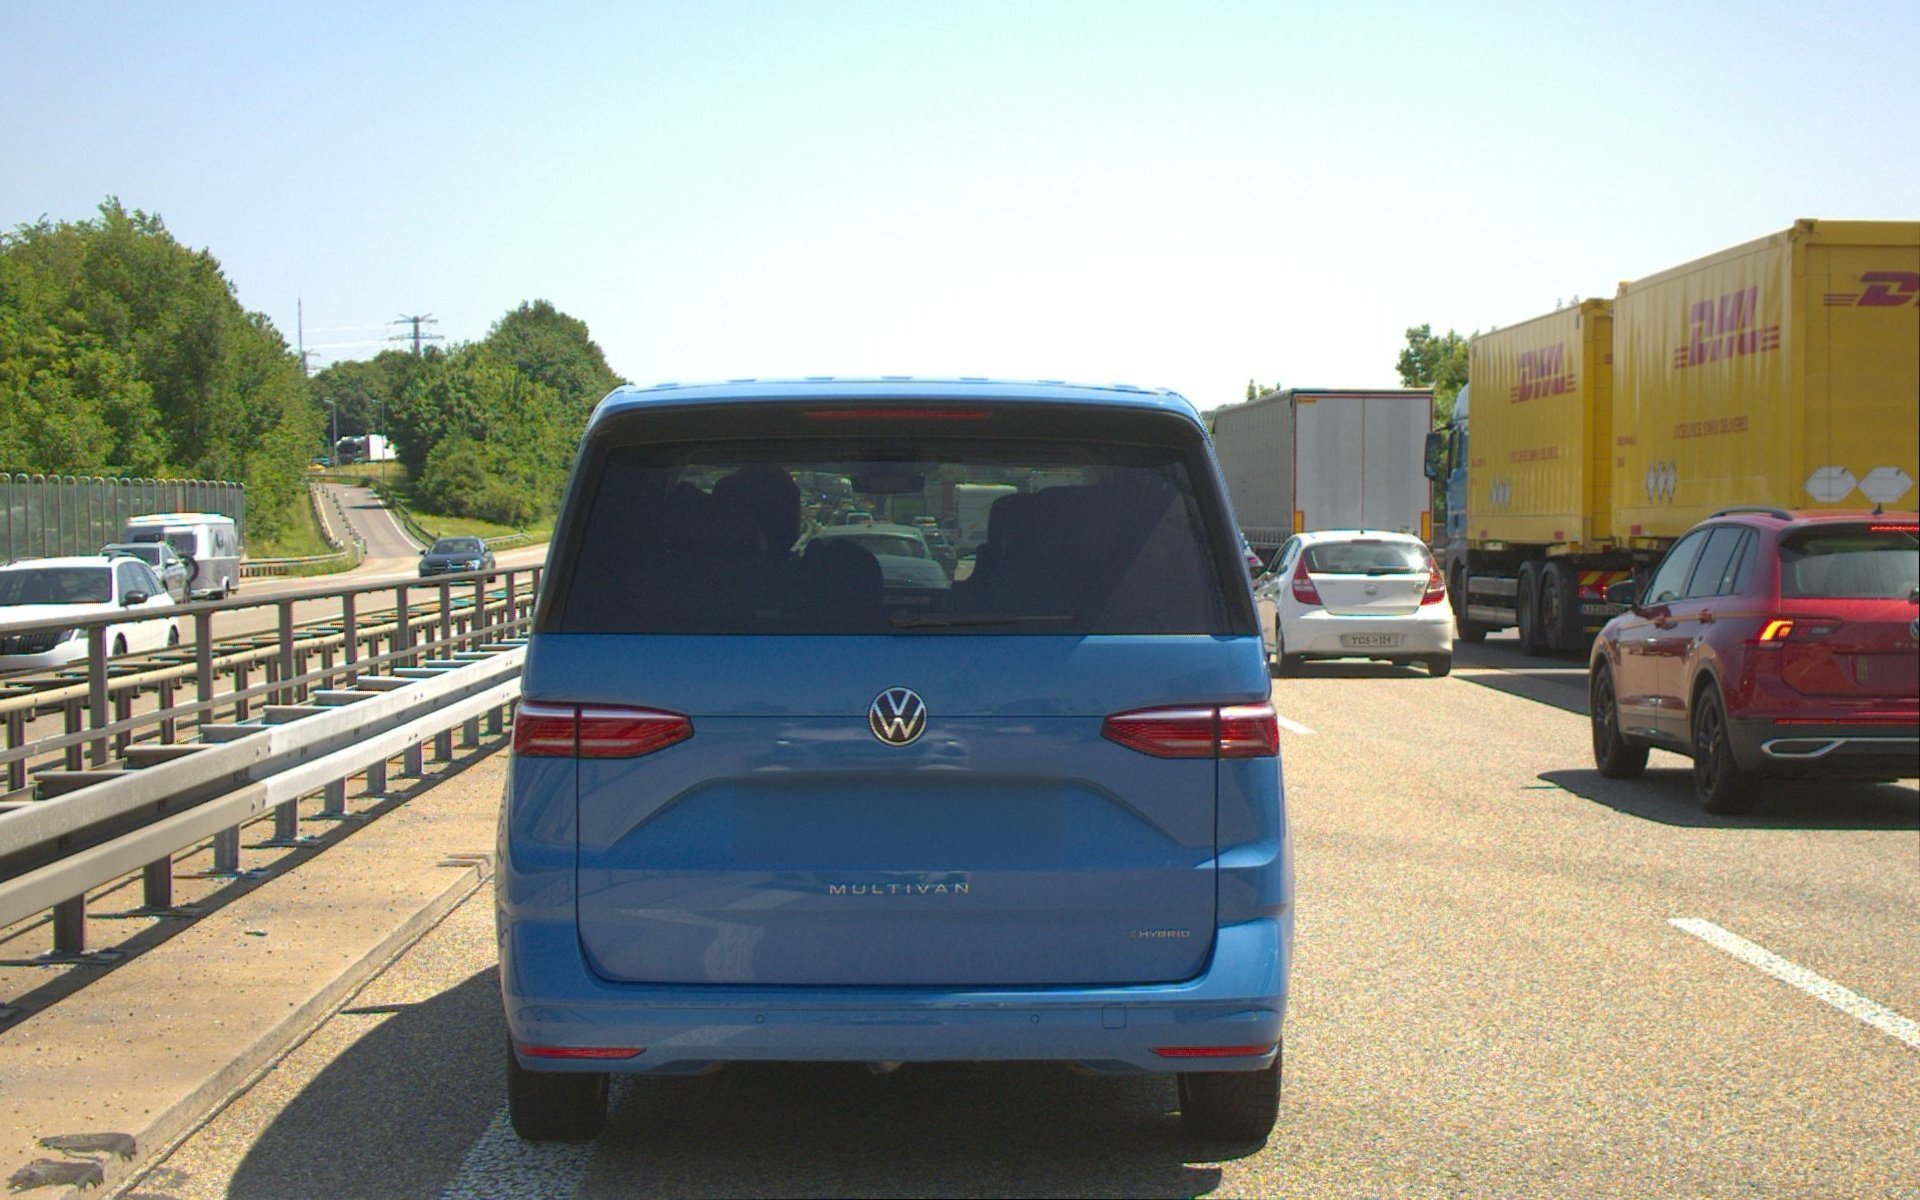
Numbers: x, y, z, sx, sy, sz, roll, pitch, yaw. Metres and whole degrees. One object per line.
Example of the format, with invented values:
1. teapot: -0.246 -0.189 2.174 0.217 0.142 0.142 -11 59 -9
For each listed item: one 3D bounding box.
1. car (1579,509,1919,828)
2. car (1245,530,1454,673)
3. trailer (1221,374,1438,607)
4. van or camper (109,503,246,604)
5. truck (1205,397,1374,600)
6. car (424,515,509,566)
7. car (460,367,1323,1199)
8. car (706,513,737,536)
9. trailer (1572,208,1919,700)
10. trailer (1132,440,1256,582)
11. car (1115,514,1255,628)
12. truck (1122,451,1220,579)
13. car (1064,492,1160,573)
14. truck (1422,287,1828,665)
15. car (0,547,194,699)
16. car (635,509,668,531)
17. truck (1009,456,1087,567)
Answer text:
1. car: 4.797 0.298 19.281 1.851 1.603 4.000 0 1 -1
2. car: 4.037 -0.022 36.191 1.838 1.409 4.000 0 1 1
3. trailer: 7.055 -2.025 67.227 2.755 4.132 11.313 1 1 -1
4. van or camper: -18.333 -1.090 80.816 1.993 2.204 5.538 -3 1 -2
5. truck: 6.943 -2.104 73.288 2.768 4.081 6.985 1 1 -1
6. car: -14.374 -1.750 100.320 1.856 1.392 4.676 0 2 -1
7. car: -0.183 0.366 9.517 1.882 1.831 4.000 0 1 -1
8. car: -16.224 -5.152 233.926 1.840 1.524 3.558 -2 1 -1
9. trailer: 8.087 -1.239 32.662 2.701 4.009 8.931 1 1 -1
10. trailer: 6.501 -2.442 97.013 2.379 3.731 11.189 1 1 -2
11. car: 3.233 -0.407 49.997 1.715 1.581 3.821 0 0 -1
12. truck: 6.291 -2.512 103.111 2.367 3.709 6.034 1 1 -2
13. car: 3.089 -1.366 70.424 1.715 1.535 3.821 0 -1 -1
14. truck: 7.885 -1.406 42.308 2.722 4.040 10.337 1 1 -1
15. car: -9.351 0.206 35.958 1.757 1.444 4.287 -2 1 -1
16. car: -19.984 -5.172 222.750 1.800 1.381 4.263 1 1 -1
17. truck: 4.074 -4.120 162.236 2.833 5.023 11.147 1 1 -3
